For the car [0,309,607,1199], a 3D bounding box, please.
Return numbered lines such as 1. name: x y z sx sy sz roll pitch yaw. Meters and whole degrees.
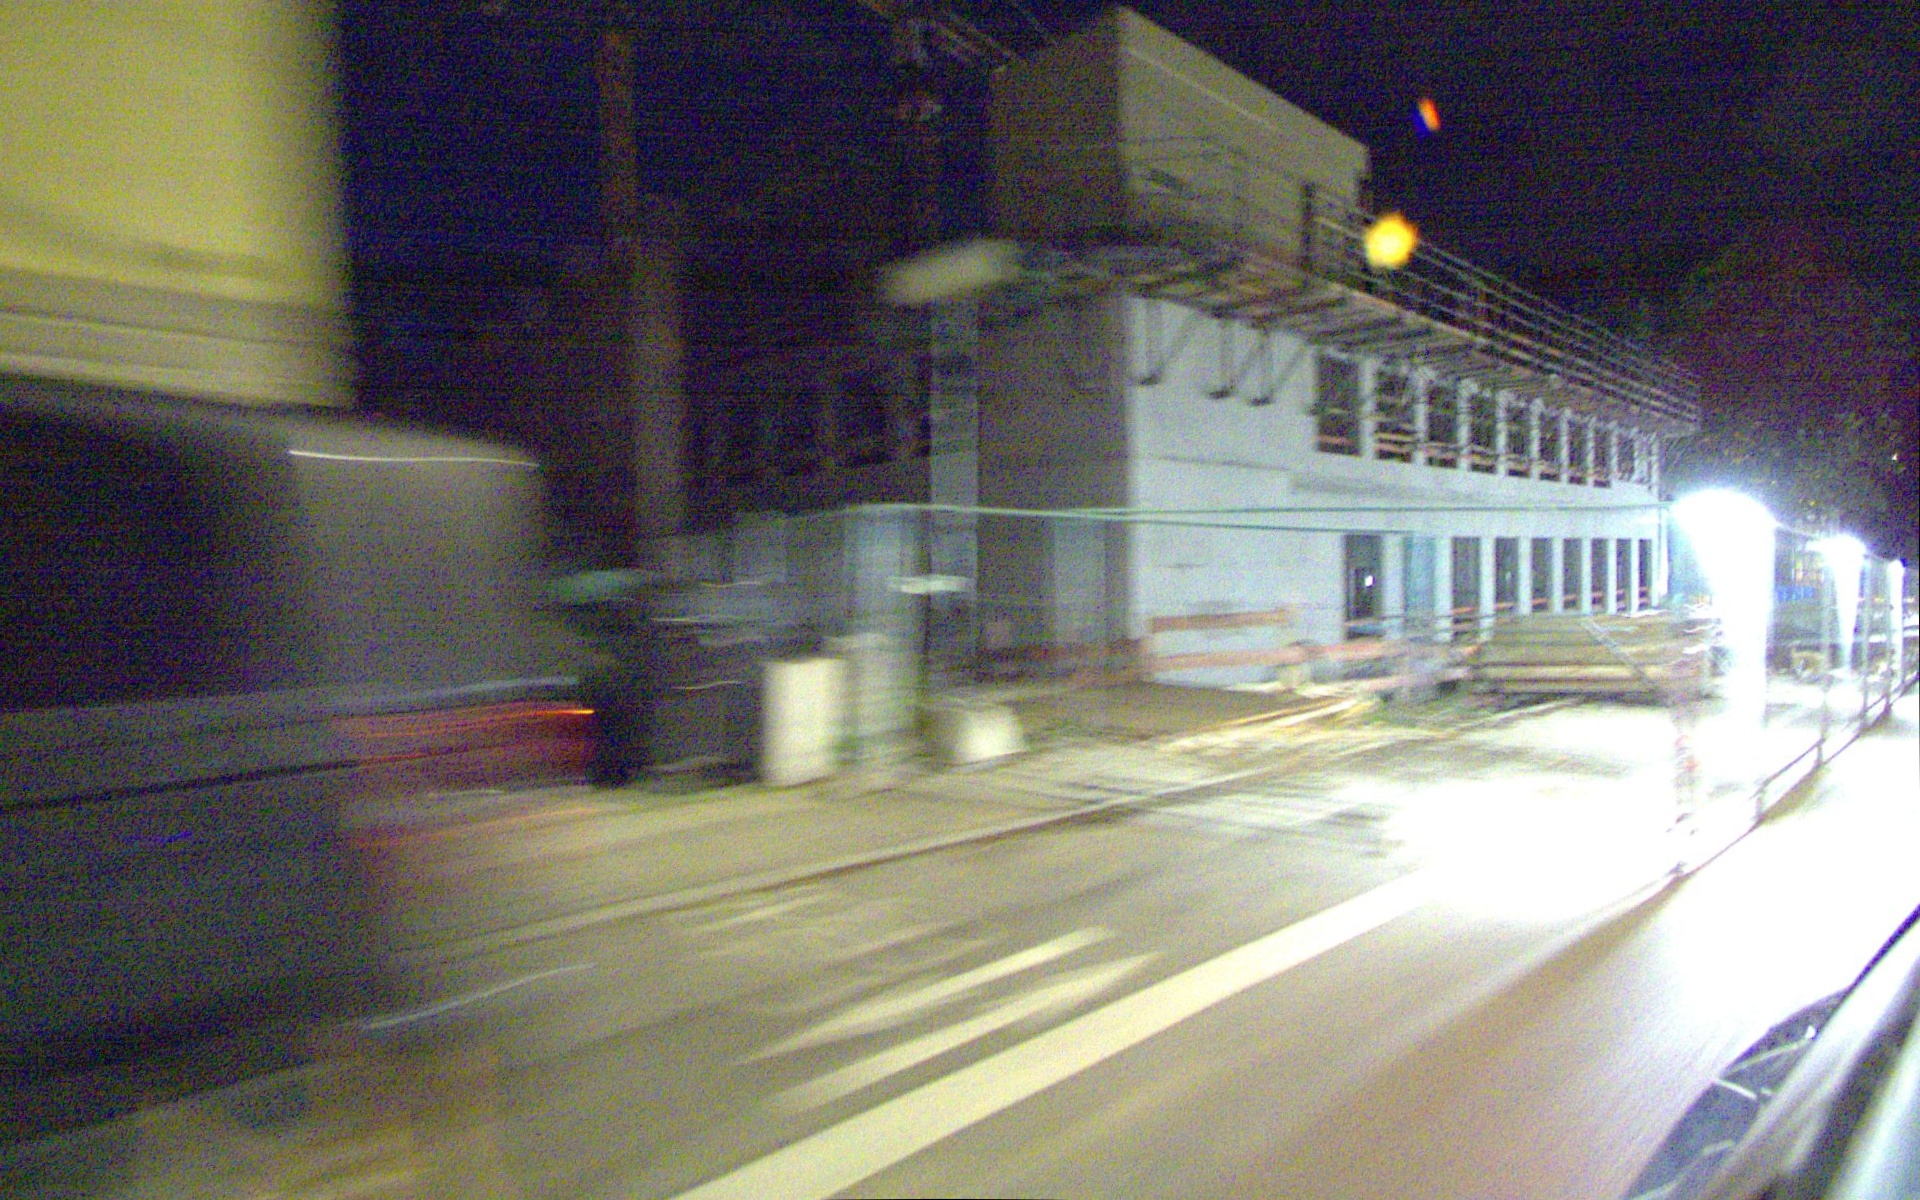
1. car: -3.138 0.485 1.199 1.912 1.850 4.821 1 1 45
